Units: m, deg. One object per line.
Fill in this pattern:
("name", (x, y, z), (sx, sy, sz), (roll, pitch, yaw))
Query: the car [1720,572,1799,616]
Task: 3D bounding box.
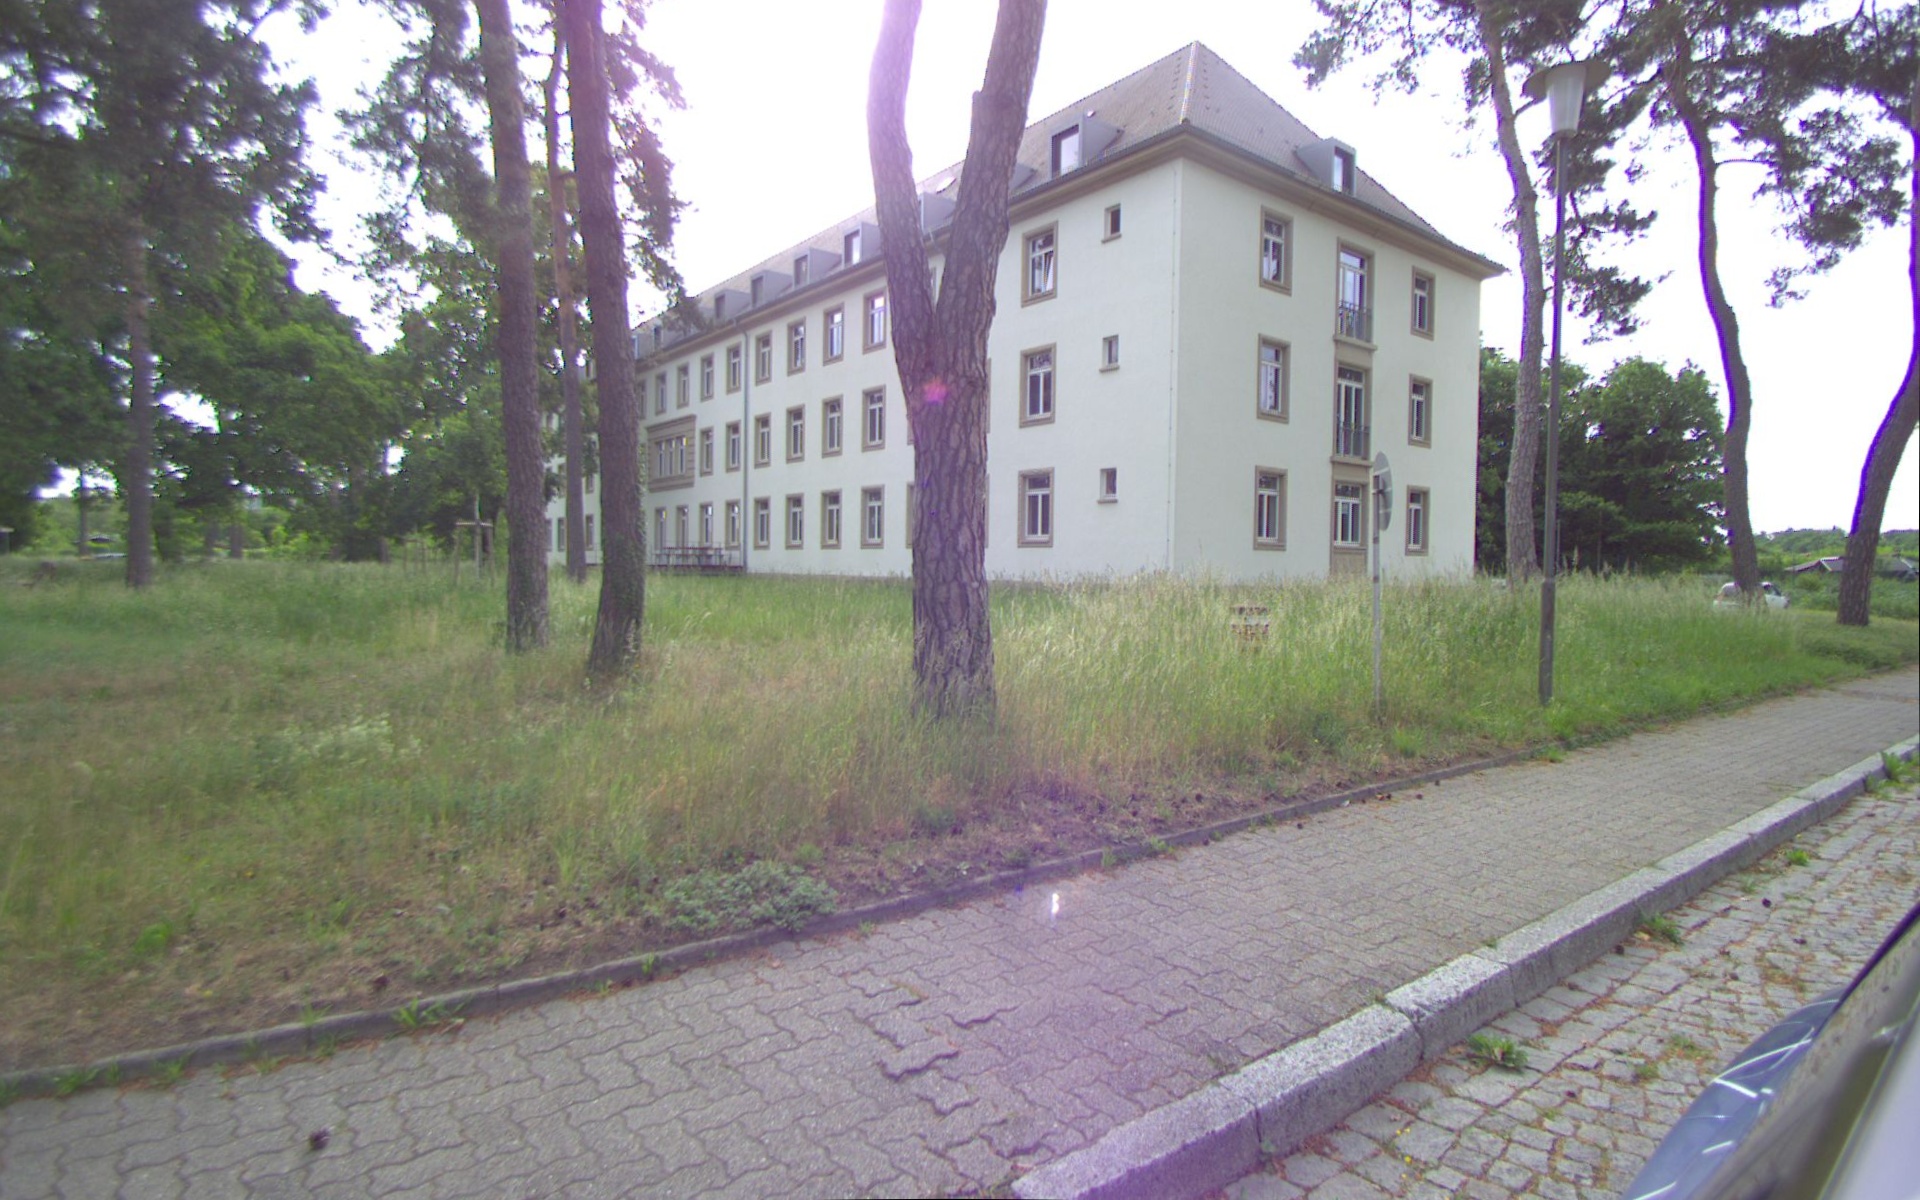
("car", (30.281, -0.253, 38.311), (3.219, 1.451, 1.641), (-4, 4, -38))
